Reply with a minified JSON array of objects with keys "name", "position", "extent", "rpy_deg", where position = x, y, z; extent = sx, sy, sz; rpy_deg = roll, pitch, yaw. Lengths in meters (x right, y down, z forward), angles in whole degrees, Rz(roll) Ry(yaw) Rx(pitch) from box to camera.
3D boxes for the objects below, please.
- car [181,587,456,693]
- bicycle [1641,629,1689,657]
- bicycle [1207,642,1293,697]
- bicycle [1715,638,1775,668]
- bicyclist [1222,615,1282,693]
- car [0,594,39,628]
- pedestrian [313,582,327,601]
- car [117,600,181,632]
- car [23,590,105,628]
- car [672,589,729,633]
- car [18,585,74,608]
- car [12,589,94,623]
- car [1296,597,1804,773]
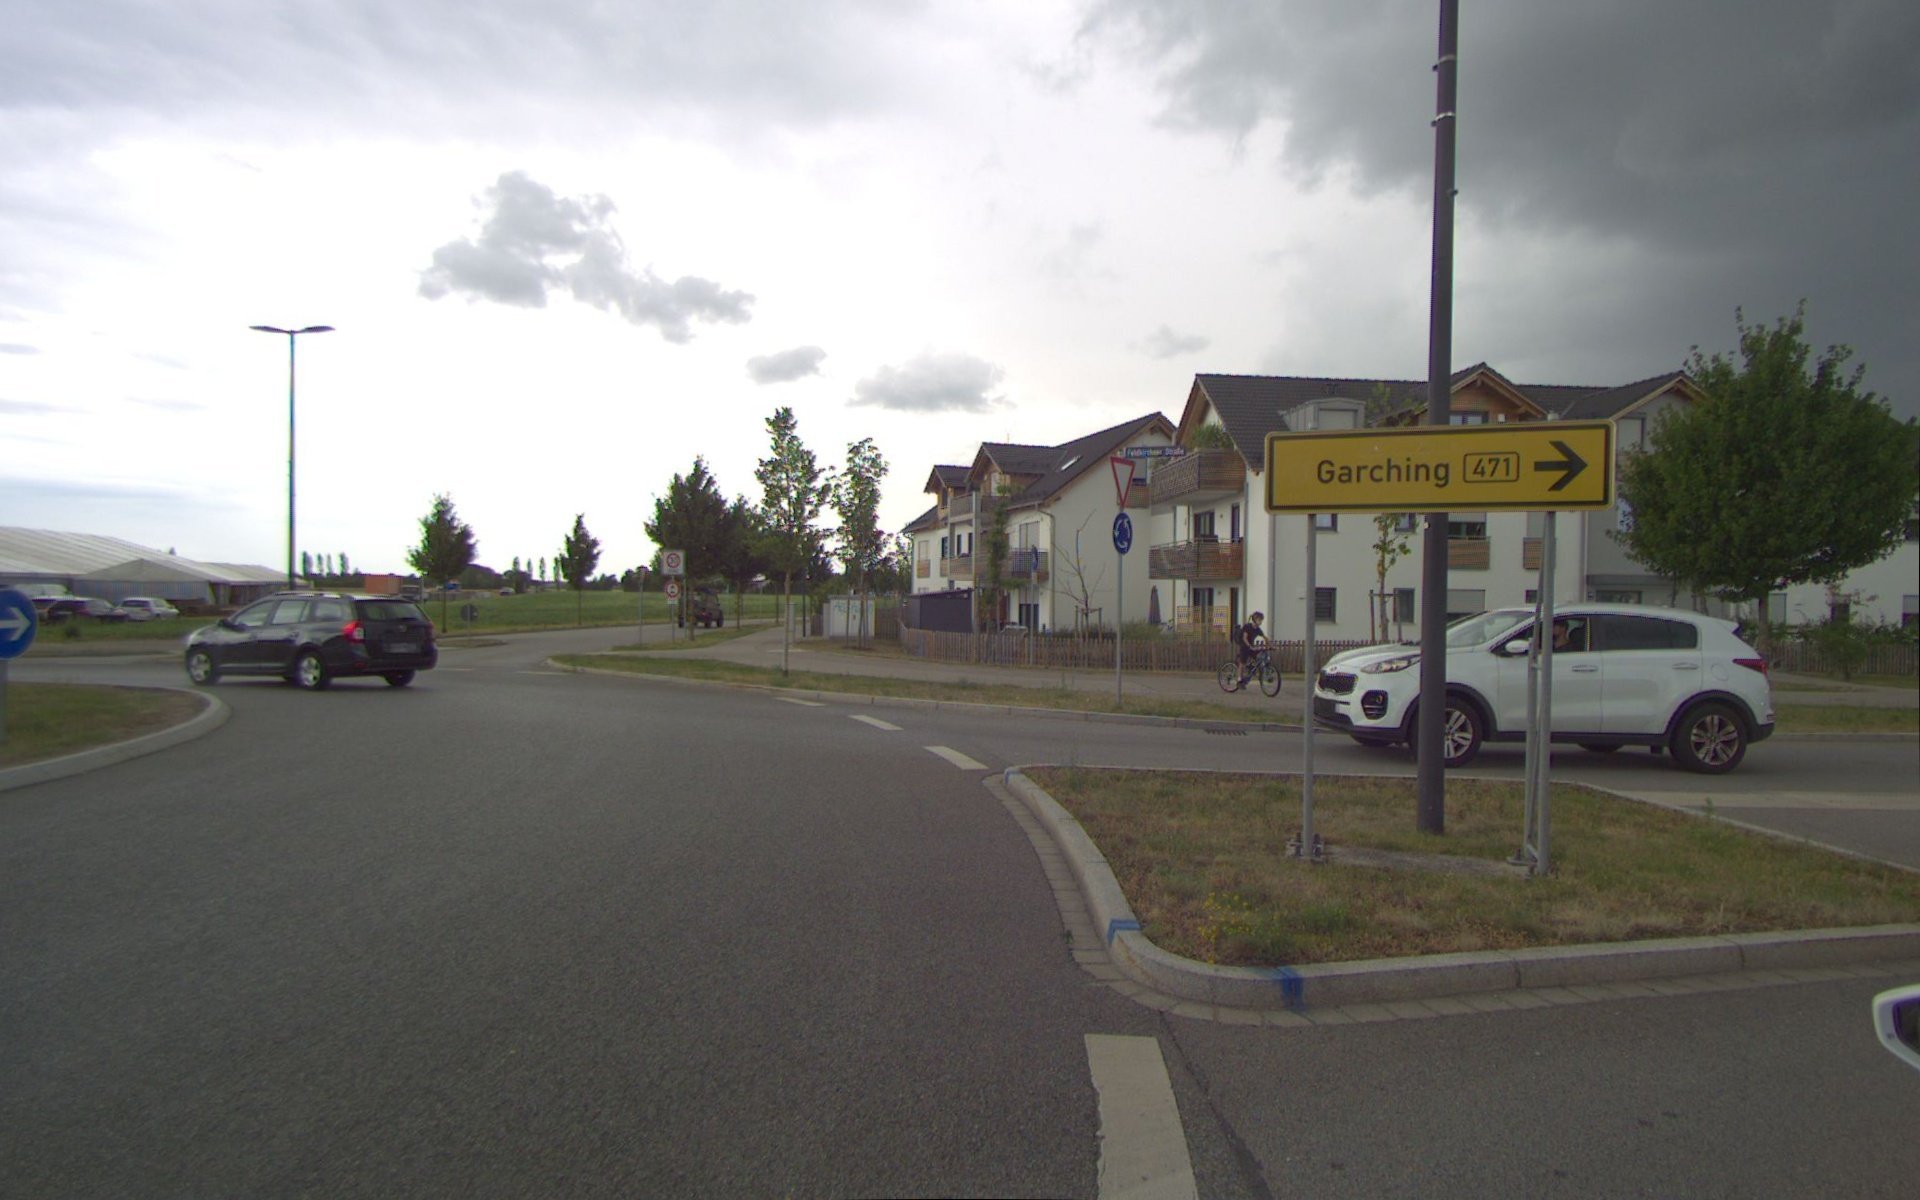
[{"name":"car","position":[-10.703,0.614,16.761],"extent":[4.197,1.584,1.773],"rpy_deg":[1,-1,23]},{"name":"bicycle","position":[23.161,1.421,33.017],"extent":[1.312,0.855,0.368],"rpy_deg":[1,3,-5]},{"name":"bicycle","position":[5.546,1.314,19.278],"extent":[0.492,0.959,1.699],"rpy_deg":[1,-1,-32]},{"name":"bicycle","position":[23.489,1.580,30.072],"extent":[1.517,0.855,0.368],"rpy_deg":[1,3,-5]},{"name":"bicyclist","position":[5.604,1.016,19.313],"extent":[0.717,1.466,0.861],"rpy_deg":[1,-1,-33]},{"name":"car","position":[-48.257,0.523,50.328],"extent":[1.808,1.628,3.810],"rpy_deg":[1,0,-21]},{"name":"pedestrian","position":[-70.103,-0.955,109.968],"extent":[1.035,2.041,1.057],"rpy_deg":[1,1,-17]},{"name":"car","position":[-42.659,0.808,52.920],"extent":[1.709,1.574,3.974],"rpy_deg":[1,0,-26]},{"name":"car","position":[-41.393,0.391,46.371],"extent":[3.805,1.628,1.633],"rpy_deg":[1,1,28]},{"name":"car","position":[-14.719,0.581,57.304],"extent":[1.960,2.284,4.571],"rpy_deg":[1,1,1]},{"name":"car","position":[-68.543,-0.289,75.353],"extent":[1.808,1.628,3.810],"rpy_deg":[1,1,-21]},{"name":"car","position":[-45.951,0.272,50.980],"extent":[1.808,1.628,3.810],"rpy_deg":[1,0,-21]},{"name":"car","position":[6.023,0.836,10.628],"extent":[4.362,1.647,1.714],"rpy_deg":[1,0,0]}]
